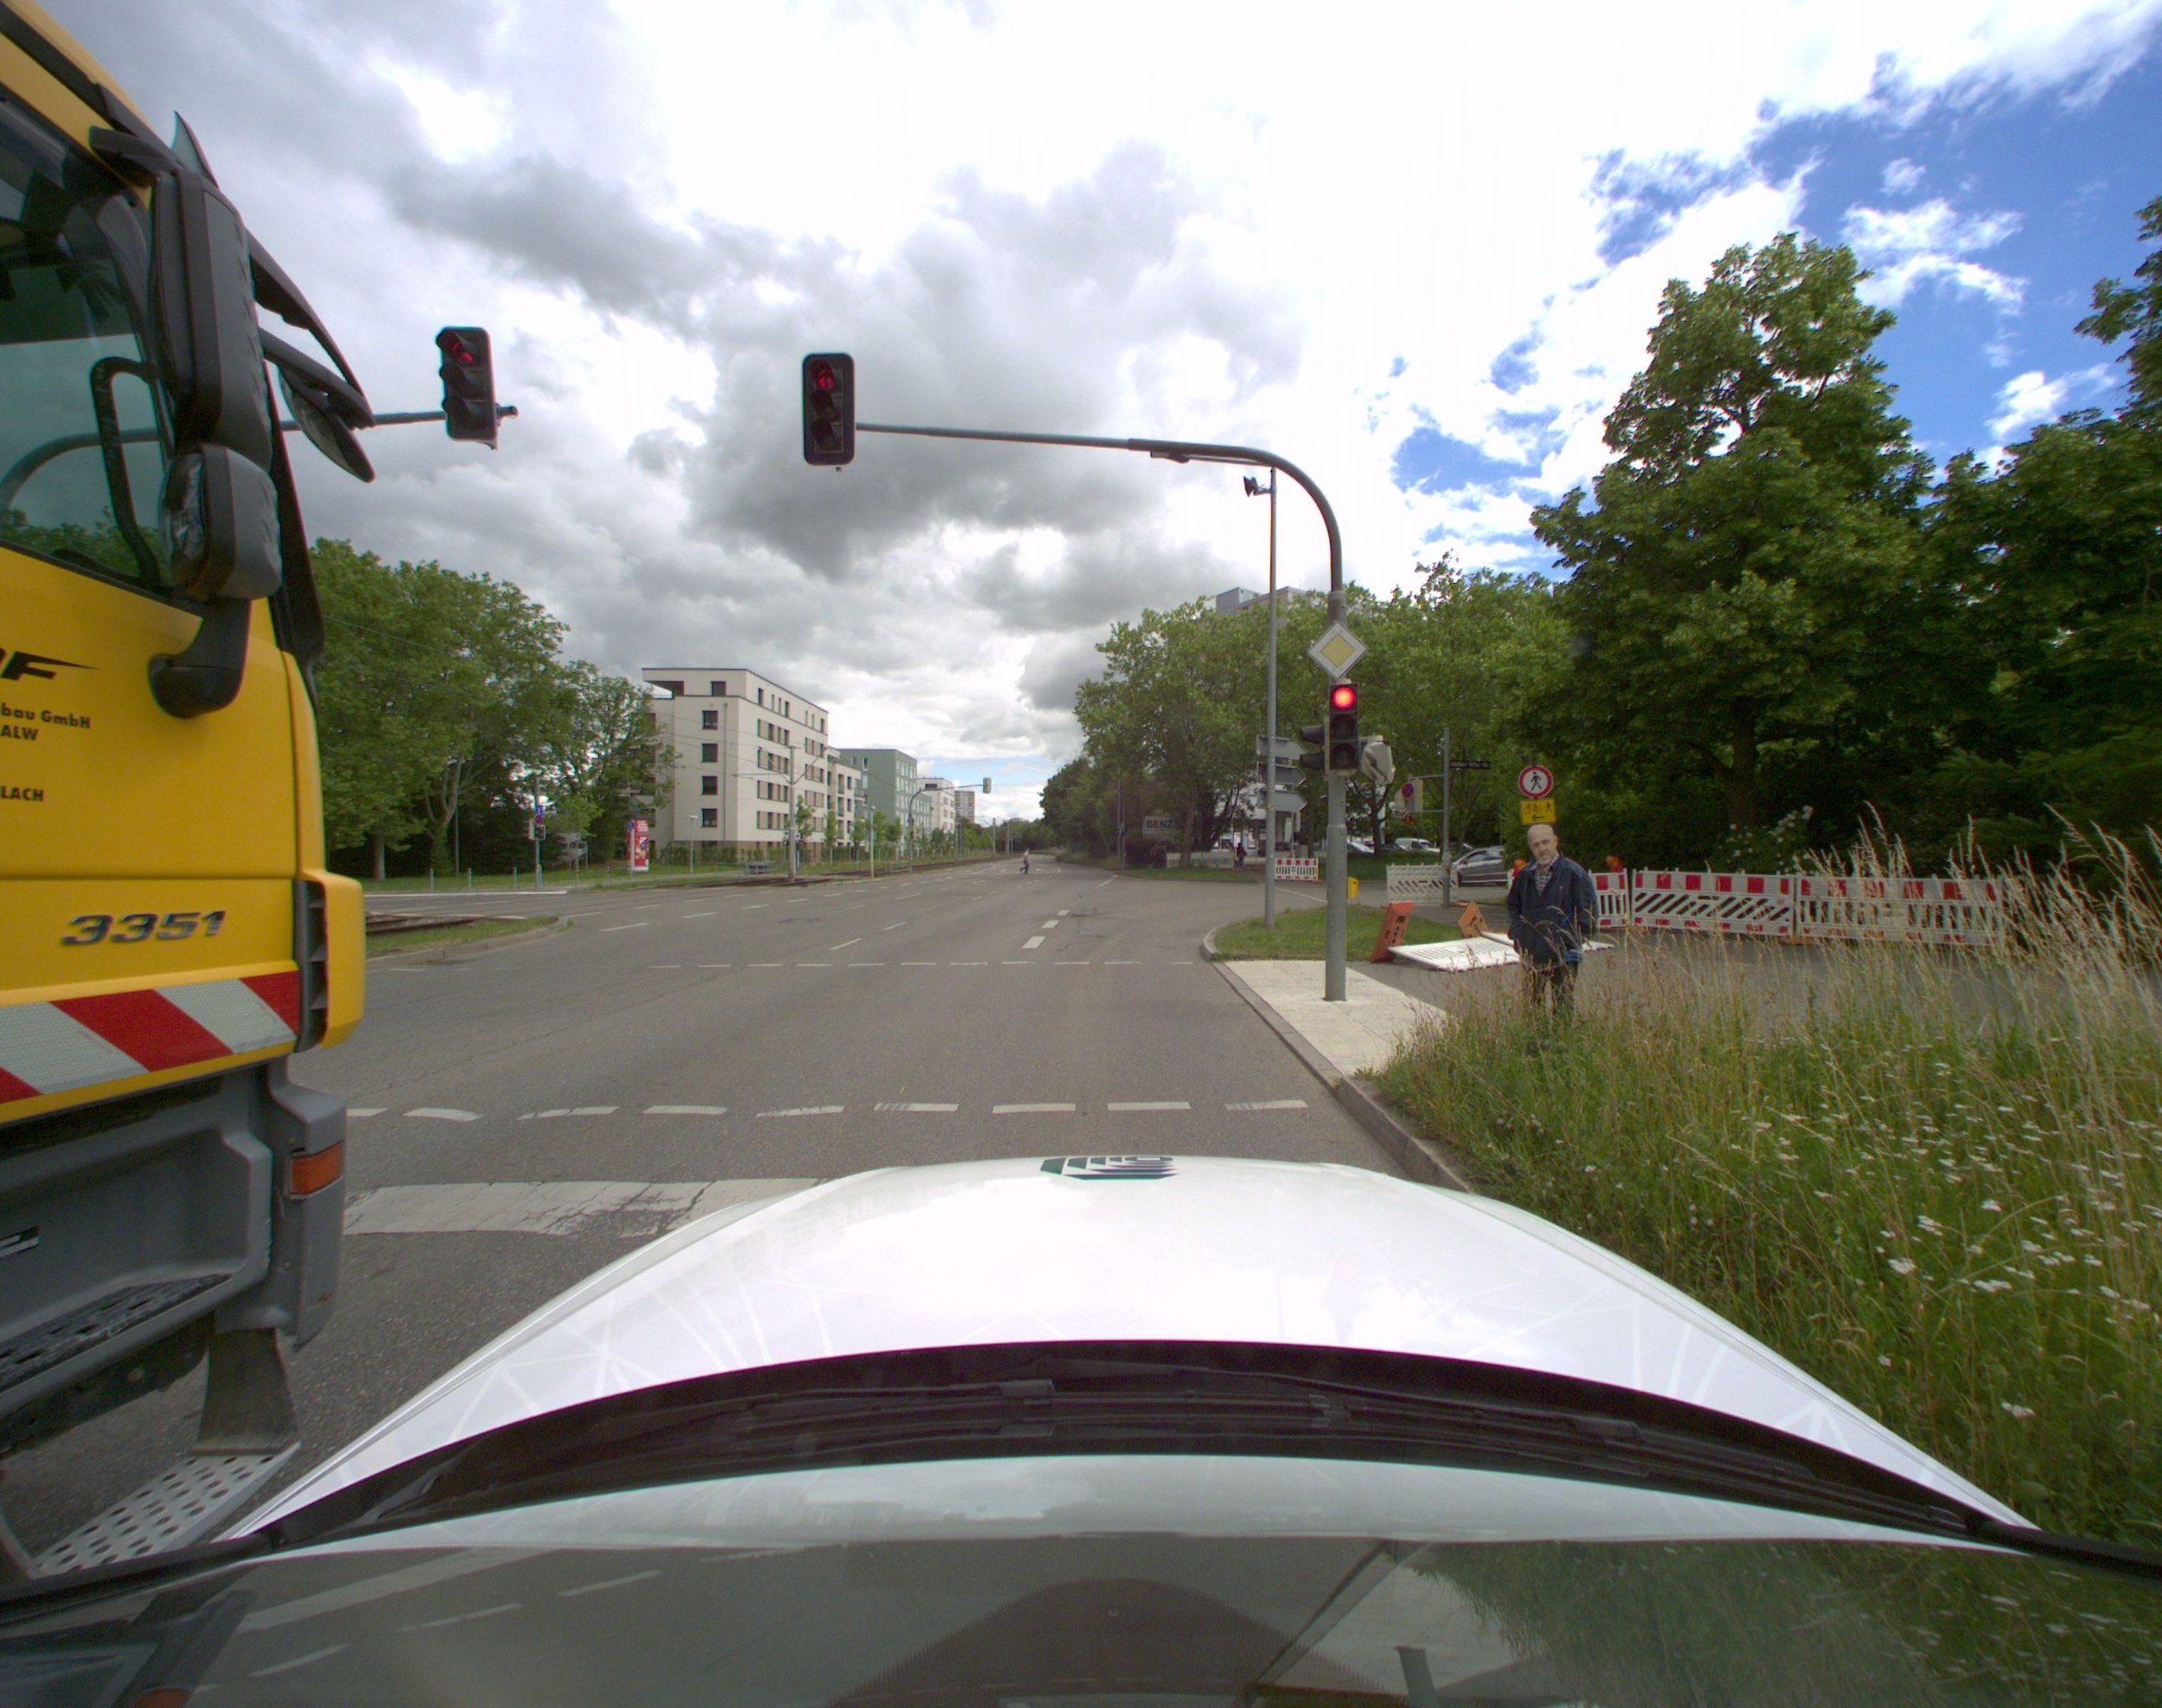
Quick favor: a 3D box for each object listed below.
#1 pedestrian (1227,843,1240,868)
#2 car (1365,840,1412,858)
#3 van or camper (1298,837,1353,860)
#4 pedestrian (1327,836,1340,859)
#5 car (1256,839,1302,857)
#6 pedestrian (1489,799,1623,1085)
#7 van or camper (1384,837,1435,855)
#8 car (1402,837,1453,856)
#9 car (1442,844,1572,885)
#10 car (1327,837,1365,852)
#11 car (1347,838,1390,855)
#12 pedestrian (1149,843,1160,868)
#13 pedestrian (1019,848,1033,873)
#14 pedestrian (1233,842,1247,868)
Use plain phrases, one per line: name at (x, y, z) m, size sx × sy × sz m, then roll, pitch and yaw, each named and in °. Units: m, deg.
pedestrian at (9.141, 0.068, 48.743) m, size 0.682 × 1.489 × 0.700 m, roll 0°, pitch -1°, yaw 5°
car at (24.317, -0.381, 64.528) m, size 1.488 × 1.404 × 3.378 m, roll 0°, pitch -1°, yaw -27°
van or camper at (18.476, -0.387, 61.732) m, size 1.849 × 1.684 × 3.967 m, roll -1°, pitch 0°, yaw -25°
pedestrian at (22.203, -0.580, 71.587) m, size 0.802 × 2.002 × 0.852 m, roll 0°, pitch -1°, yaw -3°
car at (17.519, -0.500, 72.281) m, size 1.736 × 1.500 × 4.234 m, roll 0°, pitch -1°, yaw -24°
pedestrian at (3.220, 0.532, 5.550) m, size 0.719 × 1.740 × 0.962 m, roll -1°, pitch 0°, yaw 30°
van or camper at (26.975, -0.650, 67.059) m, size 1.523 × 1.356 × 3.738 m, roll 0°, pitch -1°, yaw -31°
car at (29.019, -0.605, 68.347) m, size 1.489 × 1.465 × 3.856 m, roll 0°, pitch -1°, yaw -29°
car at (17.364, 0.433, 33.359) m, size 4.379 × 1.586 × 1.774 m, roll 0°, pitch -1°, yaw 2°
car at (25.313, -0.902, 77.810) m, size 1.489 × 1.404 × 3.377 m, roll 0°, pitch -1°, yaw -29°
car at (28.024, -0.775, 79.404) m, size 1.677 × 1.634 × 3.787 m, roll 0°, pitch 1°, yaw -28°
pedestrian at (4.676, 0.111, 51.707) m, size 0.650 × 1.539 × 0.774 m, roll 0°, pitch -1°, yaw 6°
pedestrian at (-3.520, 0.416, 52.073) m, size 0.845 × 1.586 × 0.796 m, roll 0°, pitch -1°, yaw 1°
pedestrian at (9.354, 0.068, 47.842) m, size 0.714 × 1.489 × 0.700 m, roll 0°, pitch -1°, yaw 6°
